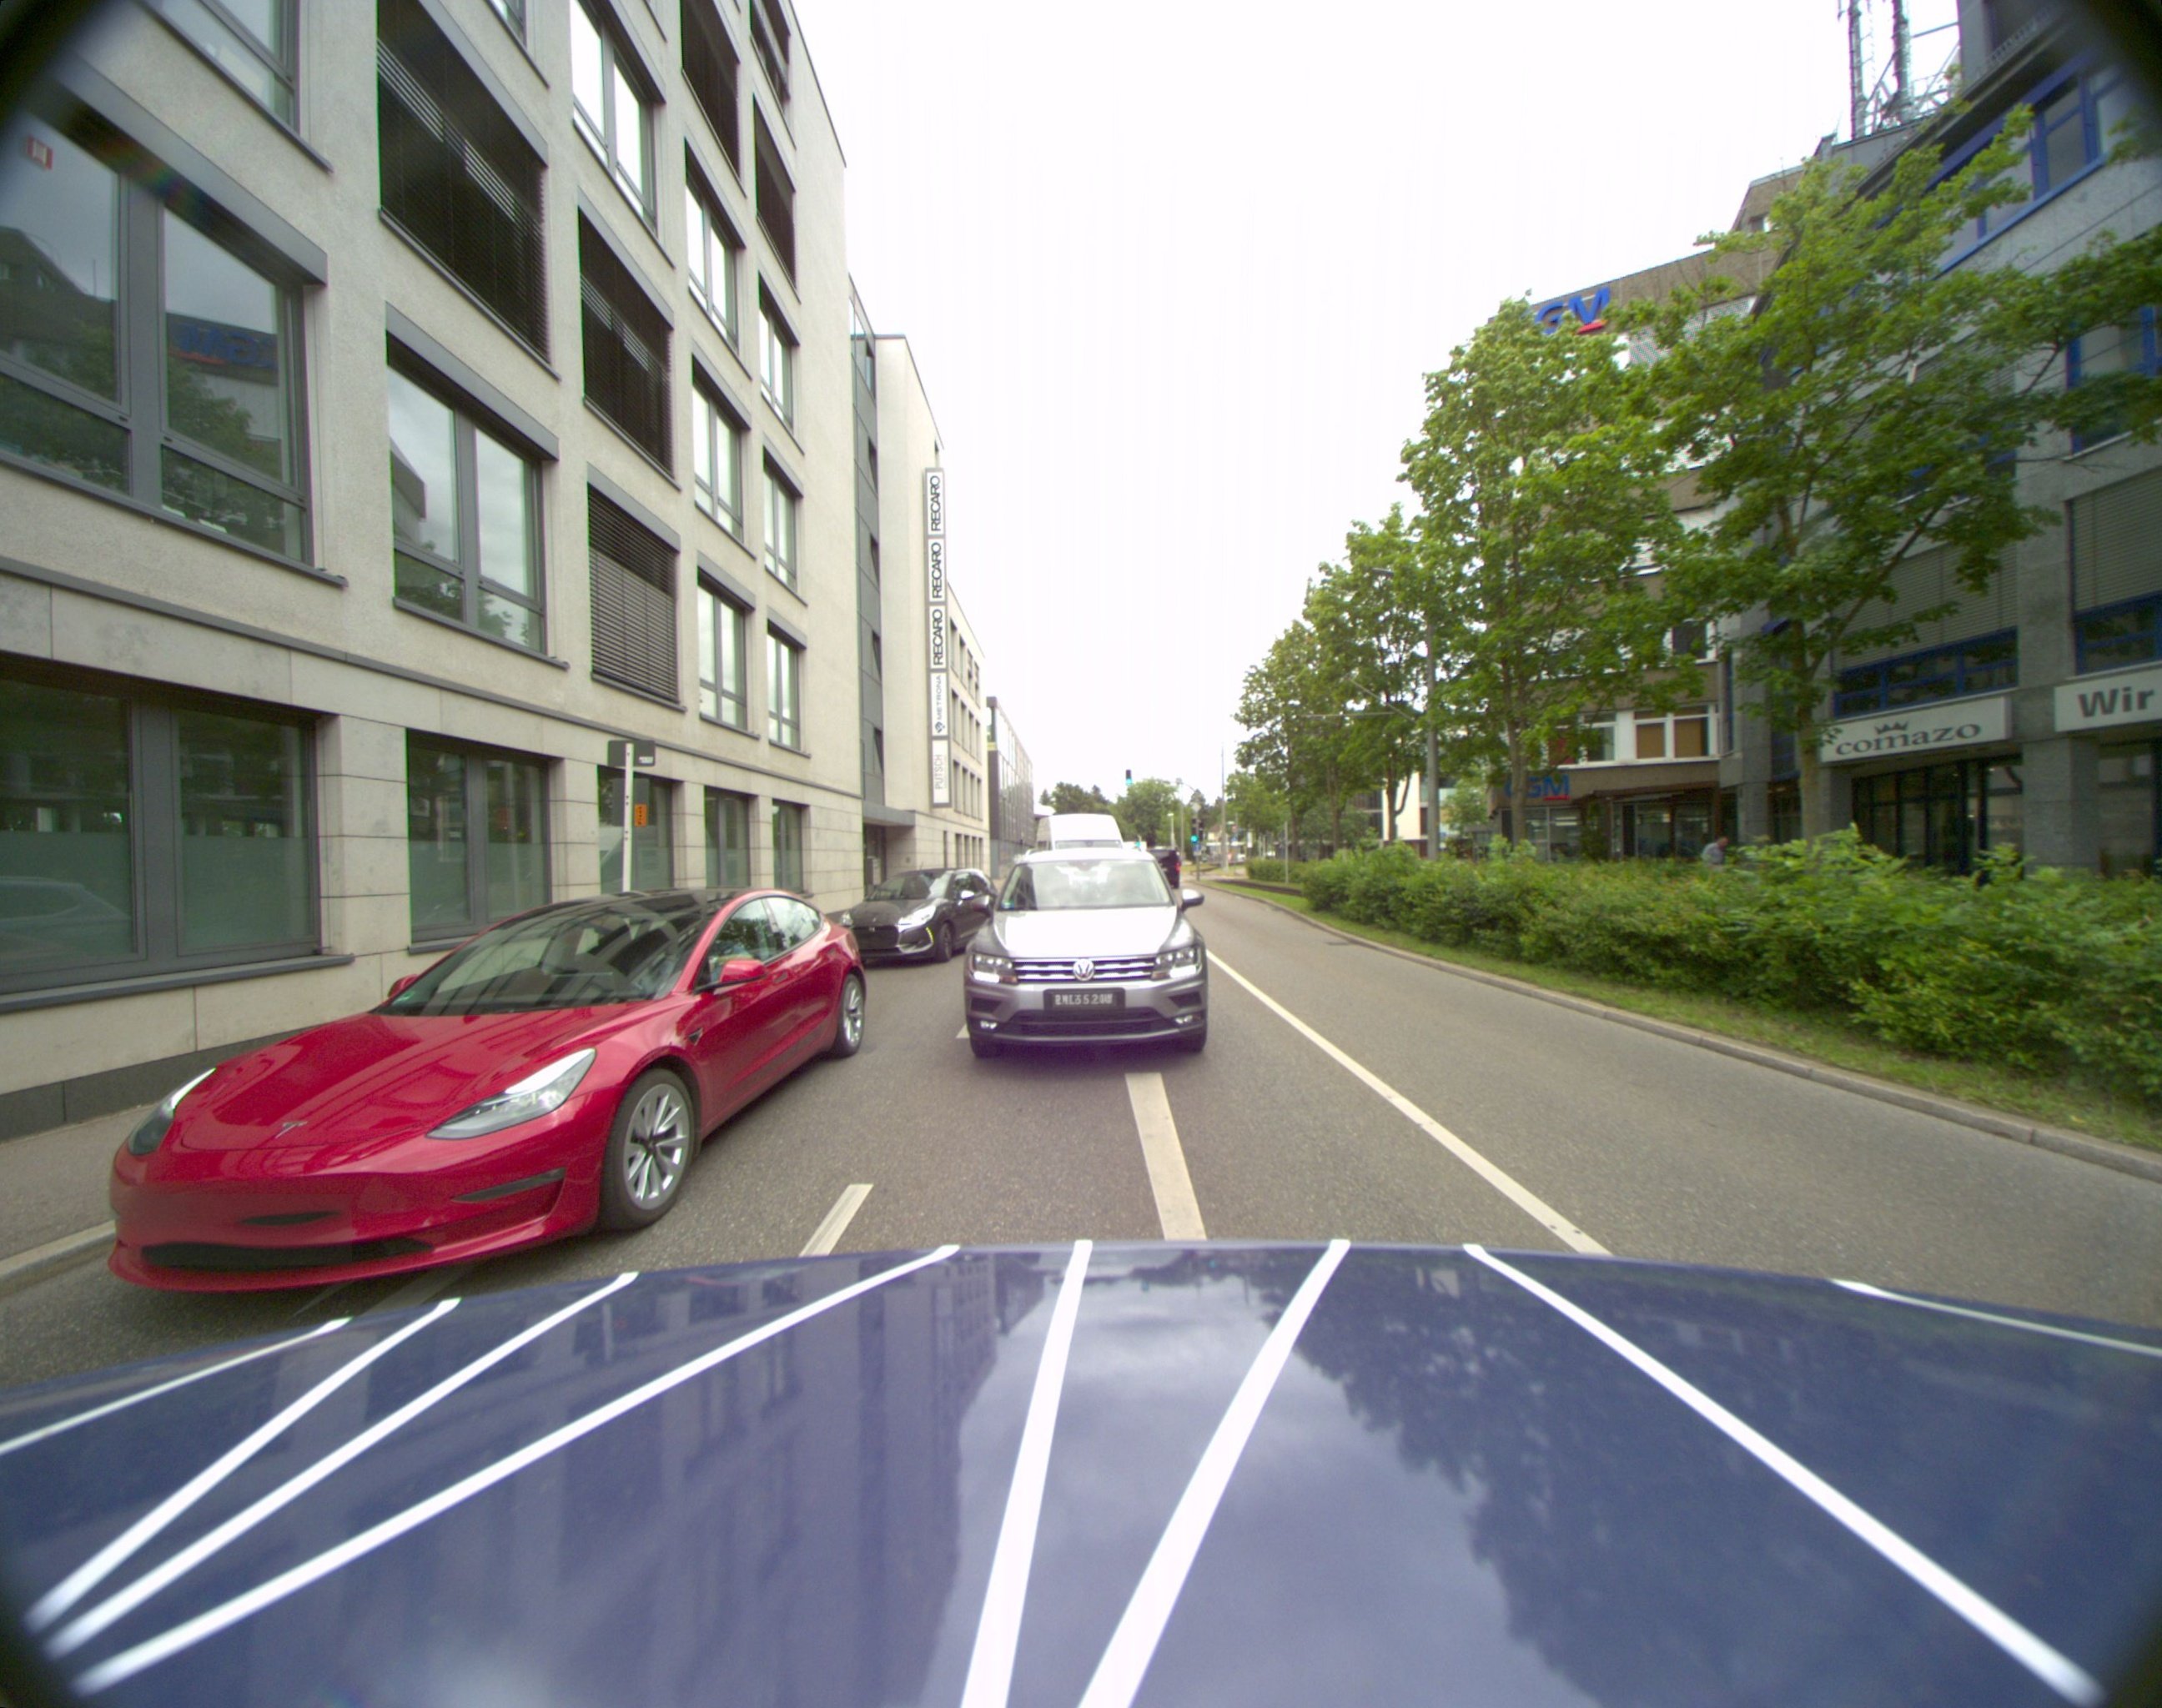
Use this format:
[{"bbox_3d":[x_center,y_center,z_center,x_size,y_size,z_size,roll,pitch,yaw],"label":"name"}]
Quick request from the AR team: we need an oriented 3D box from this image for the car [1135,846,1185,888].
[{"bbox_3d":[3.787,0.566,37.056,1.998,1.936,4.736,0,1,1],"label":"car"}]

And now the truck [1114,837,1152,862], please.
[{"bbox_3d":[8.098,-0.720,117.772,2.317,3.626,8.024,-1,1,31],"label":"truck"}]

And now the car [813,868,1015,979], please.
[{"bbox_3d":[-2.608,1.064,12.837,1.743,1.449,3.737,-3,0,14],"label":"car"}]

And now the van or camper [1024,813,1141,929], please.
[{"bbox_3d":[-0.168,0.367,21.242,2.114,2.718,6.145,-2,1,-10],"label":"van or camper"}]

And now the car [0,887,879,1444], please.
[{"bbox_3d":[-2.768,1.069,4.544,1.825,1.449,4.408,-3,0,1],"label":"car"}]

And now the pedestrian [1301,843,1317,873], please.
[{"bbox_3d":[15.081,0.244,50.211,0.816,1.912,0.731,-2,1,0],"label":"pedestrian"}]

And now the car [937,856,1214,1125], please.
[{"bbox_3d":[-0.001,0.912,7.260,1.798,1.716,4.458,-1,0,1],"label":"car"}]

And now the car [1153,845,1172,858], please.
[{"bbox_3d":[13.888,-0.481,128.865,1.995,2.002,4.006,-1,1,24],"label":"car"}]

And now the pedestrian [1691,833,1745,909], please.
[{"bbox_3d":[15.541,0.408,18.561,0.680,1.795,0.731,-2,1,-4],"label":"pedestrian"}]
